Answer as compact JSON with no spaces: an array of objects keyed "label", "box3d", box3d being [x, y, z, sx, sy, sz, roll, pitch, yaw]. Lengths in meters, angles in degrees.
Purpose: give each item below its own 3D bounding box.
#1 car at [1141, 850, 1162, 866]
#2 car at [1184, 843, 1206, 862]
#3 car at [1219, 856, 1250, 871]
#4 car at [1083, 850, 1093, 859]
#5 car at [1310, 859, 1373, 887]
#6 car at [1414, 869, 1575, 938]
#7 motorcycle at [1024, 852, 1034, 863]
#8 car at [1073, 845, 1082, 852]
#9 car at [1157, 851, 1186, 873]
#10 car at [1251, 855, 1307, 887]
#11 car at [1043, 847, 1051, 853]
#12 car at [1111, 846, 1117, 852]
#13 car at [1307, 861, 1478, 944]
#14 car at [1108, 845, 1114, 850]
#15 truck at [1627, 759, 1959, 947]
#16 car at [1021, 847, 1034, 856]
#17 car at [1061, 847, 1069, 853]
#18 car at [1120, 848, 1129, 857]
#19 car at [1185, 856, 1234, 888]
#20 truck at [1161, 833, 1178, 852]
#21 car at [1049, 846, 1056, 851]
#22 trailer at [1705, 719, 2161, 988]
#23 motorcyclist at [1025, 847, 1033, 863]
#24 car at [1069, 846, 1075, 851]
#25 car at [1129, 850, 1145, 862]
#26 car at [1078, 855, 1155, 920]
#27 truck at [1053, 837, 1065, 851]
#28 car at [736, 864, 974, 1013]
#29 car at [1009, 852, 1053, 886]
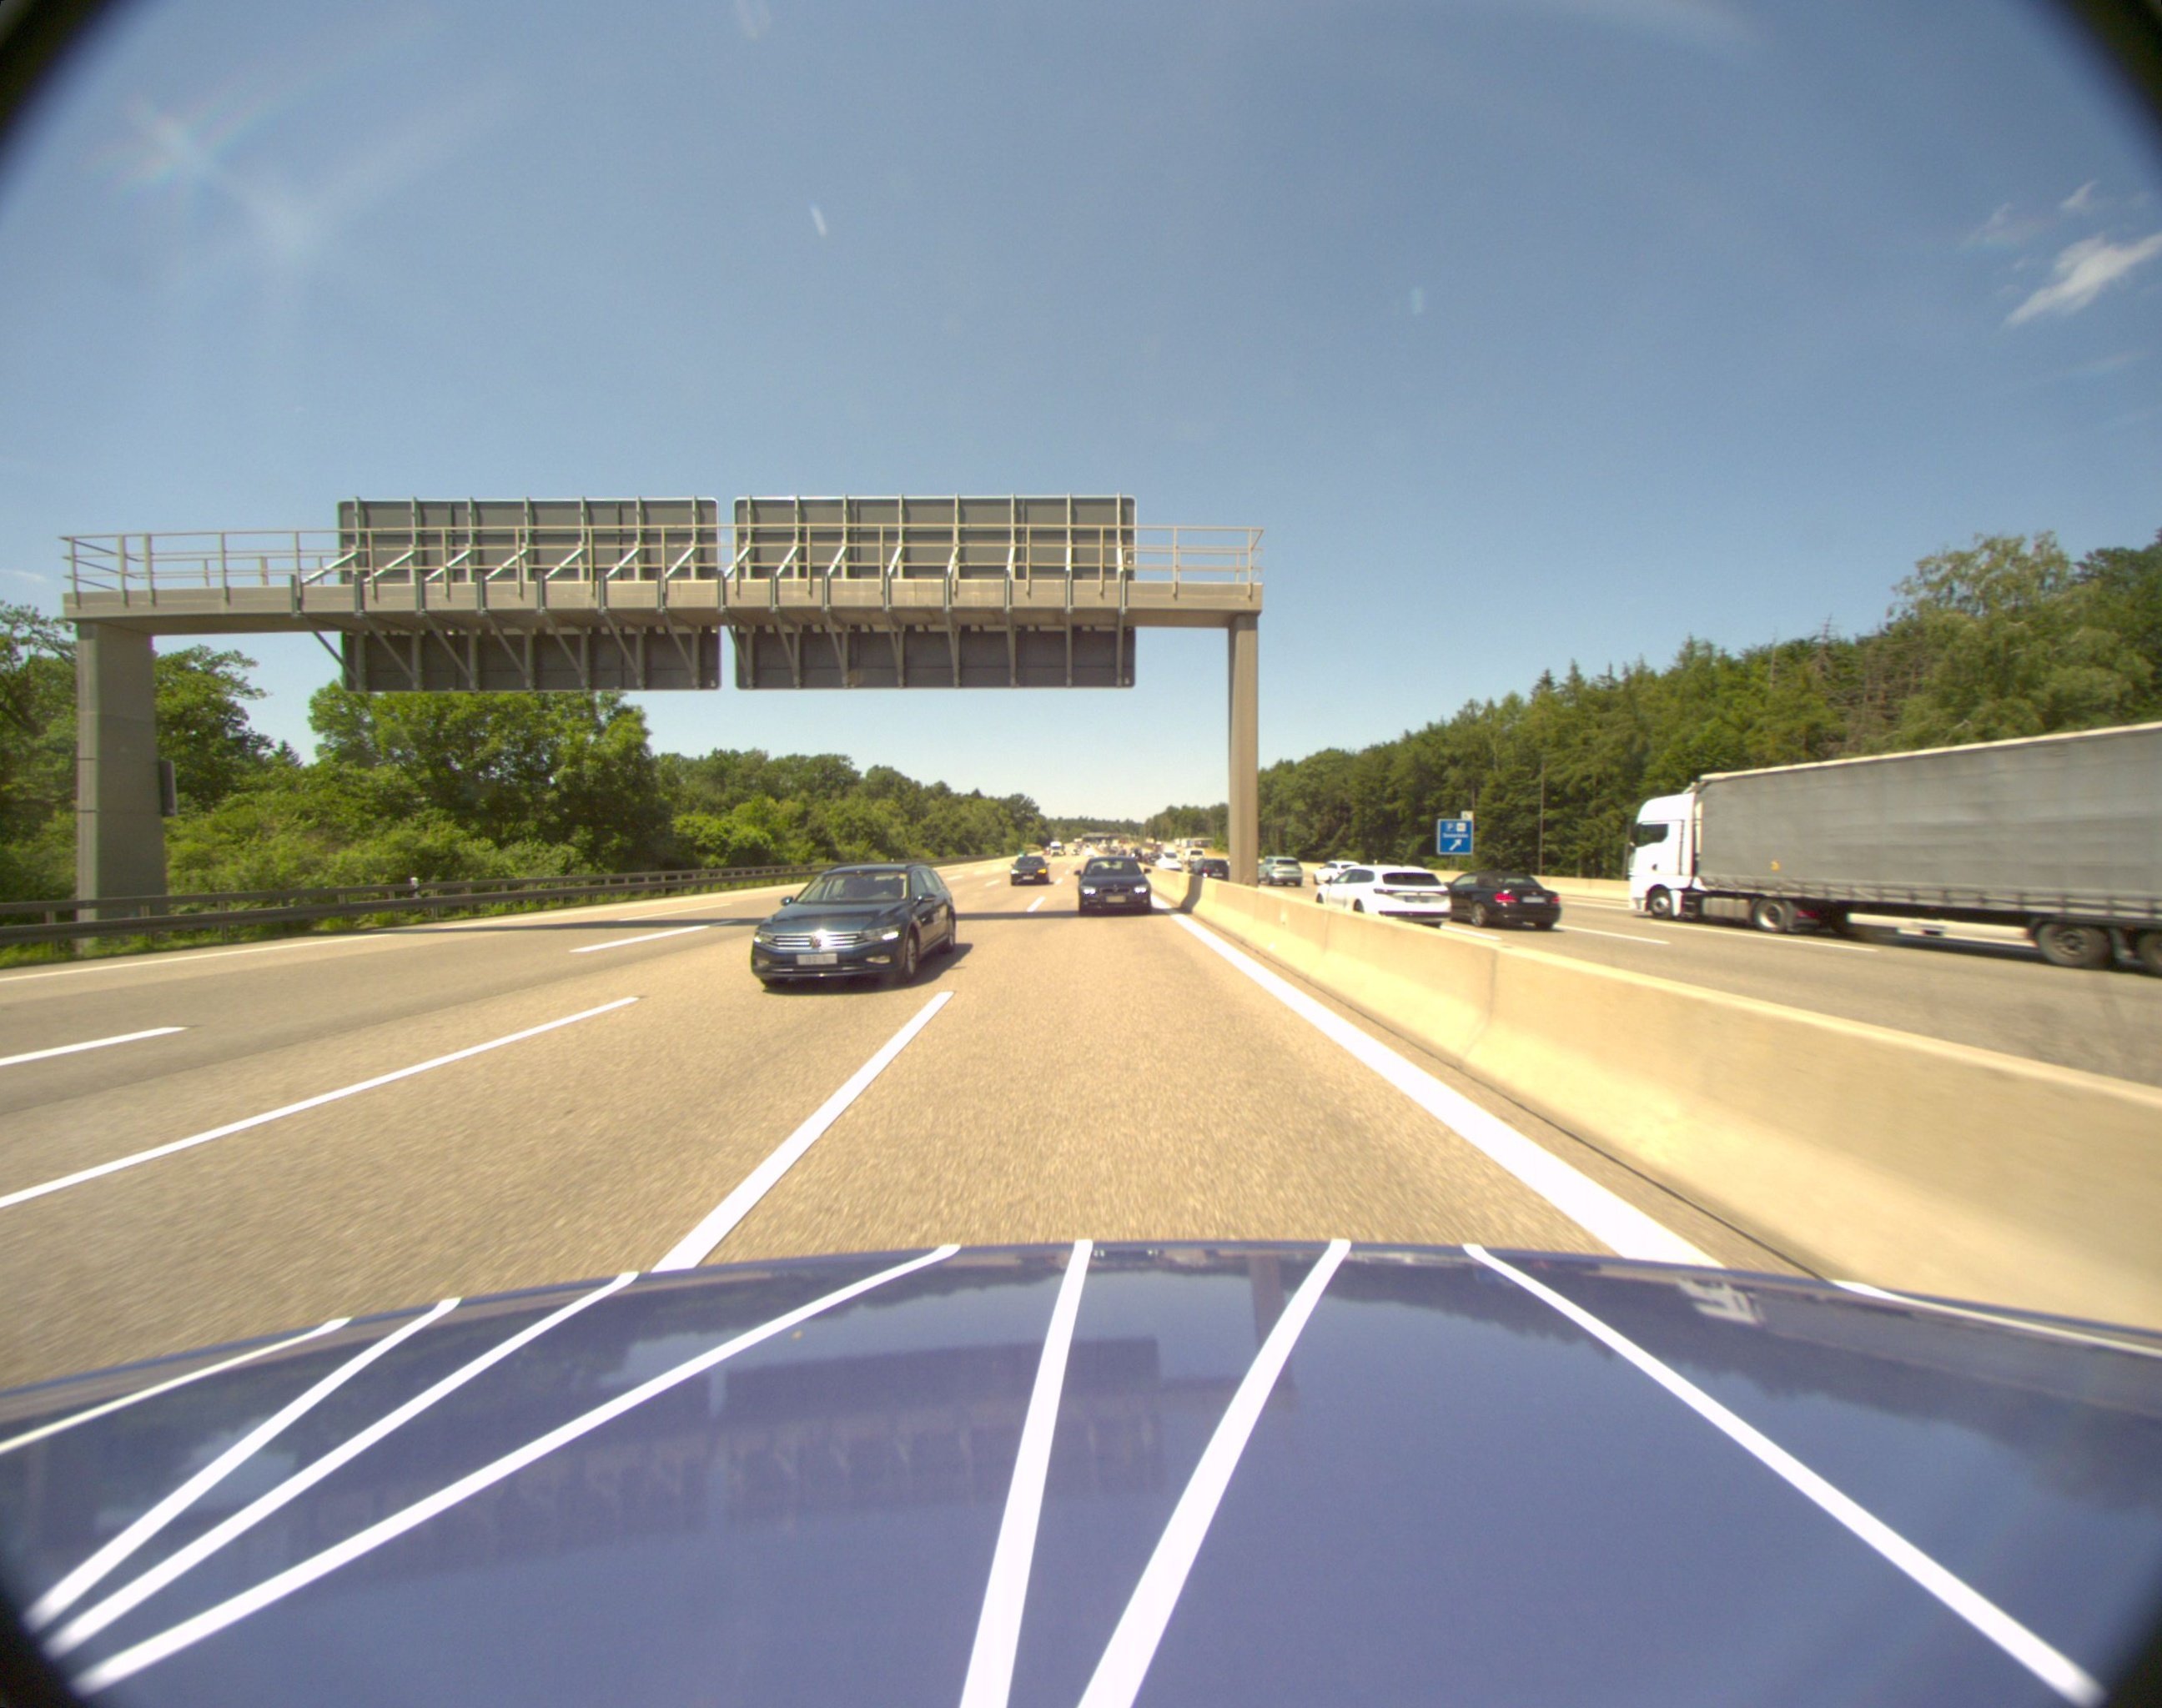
[{"label":"car","box3d":[7.558,0.375,82.019,1.759,1.664,4.203,0,1,-1]},{"label":"car","box3d":[15.544,-0.213,103.975,1.935,2.399,6.624,2,1,1]},{"label":"car","box3d":[14.451,0.838,71.670,1.998,1.299,4.844,0,1,1]},{"label":"car","box3d":[1.436,0.025,163.817,1.998,1.936,4.127,0,0,2]},{"label":"car","box3d":[14.612,1.026,42.909,1.856,1.379,4.927,2,0,0]},{"label":"car","box3d":[10.414,1.165,19.600,1.552,1.433,4.724,0,0,0]},{"label":"motorcycle","box3d":[-6.309,0.442,92.245,0.925,1.311,2.997,0,1,1]},{"label":"car","box3d":[-0.835,-1.414,190.118,1.998,1.671,4.126,1,1,2]},{"label":"car","box3d":[7.288,0.608,61.609,1.817,1.664,4.475,0,1,1]},{"label":"car","box3d":[11.002,0.887,42.558,1.822,1.580,4.881,2,1,0]},{"label":"car","box3d":[-9.215,-1.191,208.734,1.874,1.560,4.127,0,0,1]},{"label":"car","box3d":[8.902,-1.316,206.319,1.618,1.652,3.849,0,1,1]},{"label":"car","box3d":[7.098,1.017,18.030,1.851,1.541,5.214,2,0,0]},{"label":"car","box3d":[9.446,-2.036,240.232,1.618,1.386,3.849,0,1,1]},{"label":"truck","box3d":[18.297,-0.088,20.294,2.767,4.196,6.376,1,2,1]},{"label":"car","box3d":[-10.562,-0.456,150.811,1.998,1.671,4.126,1,1,2]},{"label":"car","box3d":[-4.242,-0.993,203.244,1.874,1.560,4.127,0,0,1]},{"label":"car","box3d":[8.334,-0.287,146.221,1.709,1.652,3.759,0,1,1]},{"label":"car","box3d":[6.599,0.911,39.422,1.541,1.541,4.068,0,1,-5]},{"label":"truck","box3d":[19.795,-2.614,170.146,2.726,3.917,10.233,1,1,1]},{"label":"car","box3d":[-8.391,-1.626,227.274,1.874,1.560,4.127,0,0,1]},{"label":"trailer","box3d":[18.356,-0.033,13.807,2.761,4.222,13.716,1,1,1]},{"label":"motorcyclist","box3d":[-6.314,0.123,92.176,0.914,1.926,0.905,1,2,1]},{"label":"car","box3d":[-2.709,-1.631,230.596,1.874,1.560,4.127,0,0,1]},{"label":"car","box3d":[7.921,0.281,107.937,1.874,1.597,5.228,1,1,1]},{"label":"car","box3d":[0.859,0.763,19.577,1.741,1.450,4.542,0,0,1]},{"label":"truck","box3d":[-5.192,-2.316,177.593,2.428,3.238,8.687,1,1,0]},{"label":"car","box3d":[-2.821,0.961,10.776,1.734,1.439,4.961,-2,1,1]},{"label":"car","box3d":[-2.424,0.726,38.093,1.834,1.454,4.203,-2,1,1]}]
